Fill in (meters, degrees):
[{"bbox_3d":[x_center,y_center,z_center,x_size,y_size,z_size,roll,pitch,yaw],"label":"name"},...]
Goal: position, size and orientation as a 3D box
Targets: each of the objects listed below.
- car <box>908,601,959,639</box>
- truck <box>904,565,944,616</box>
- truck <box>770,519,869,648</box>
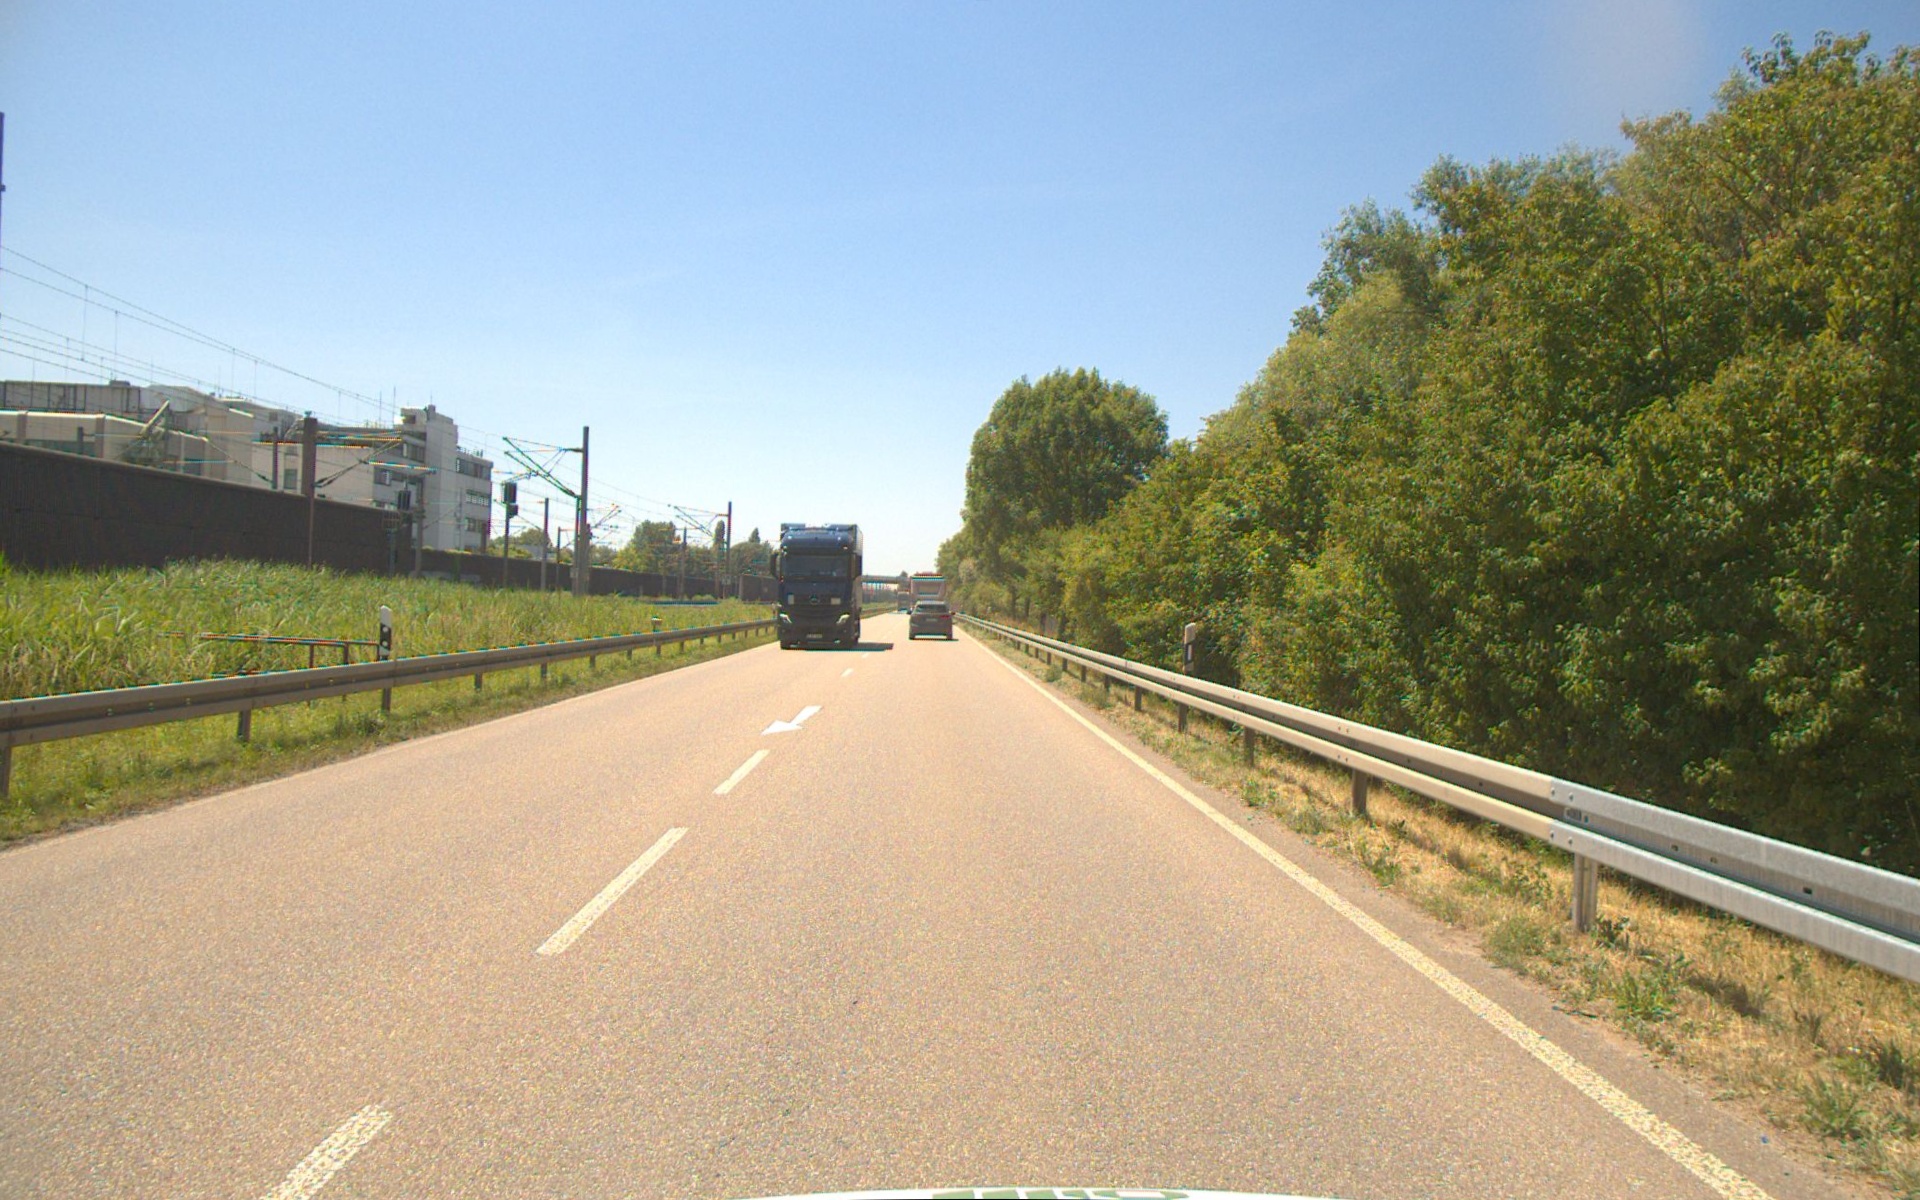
[{"bbox_3d":[-1.131,0.808,68.627,1.954,1.534,3.997,1,0,-4],"label":"car"},{"bbox_3d":[-2.632,-0.619,120.084,2.714,3.485,10.816,1,0,-1],"label":"truck"},{"bbox_3d":[-4.708,-0.531,57.333,2.740,4.047,10.497,0,0,-1],"label":"truck"}]
